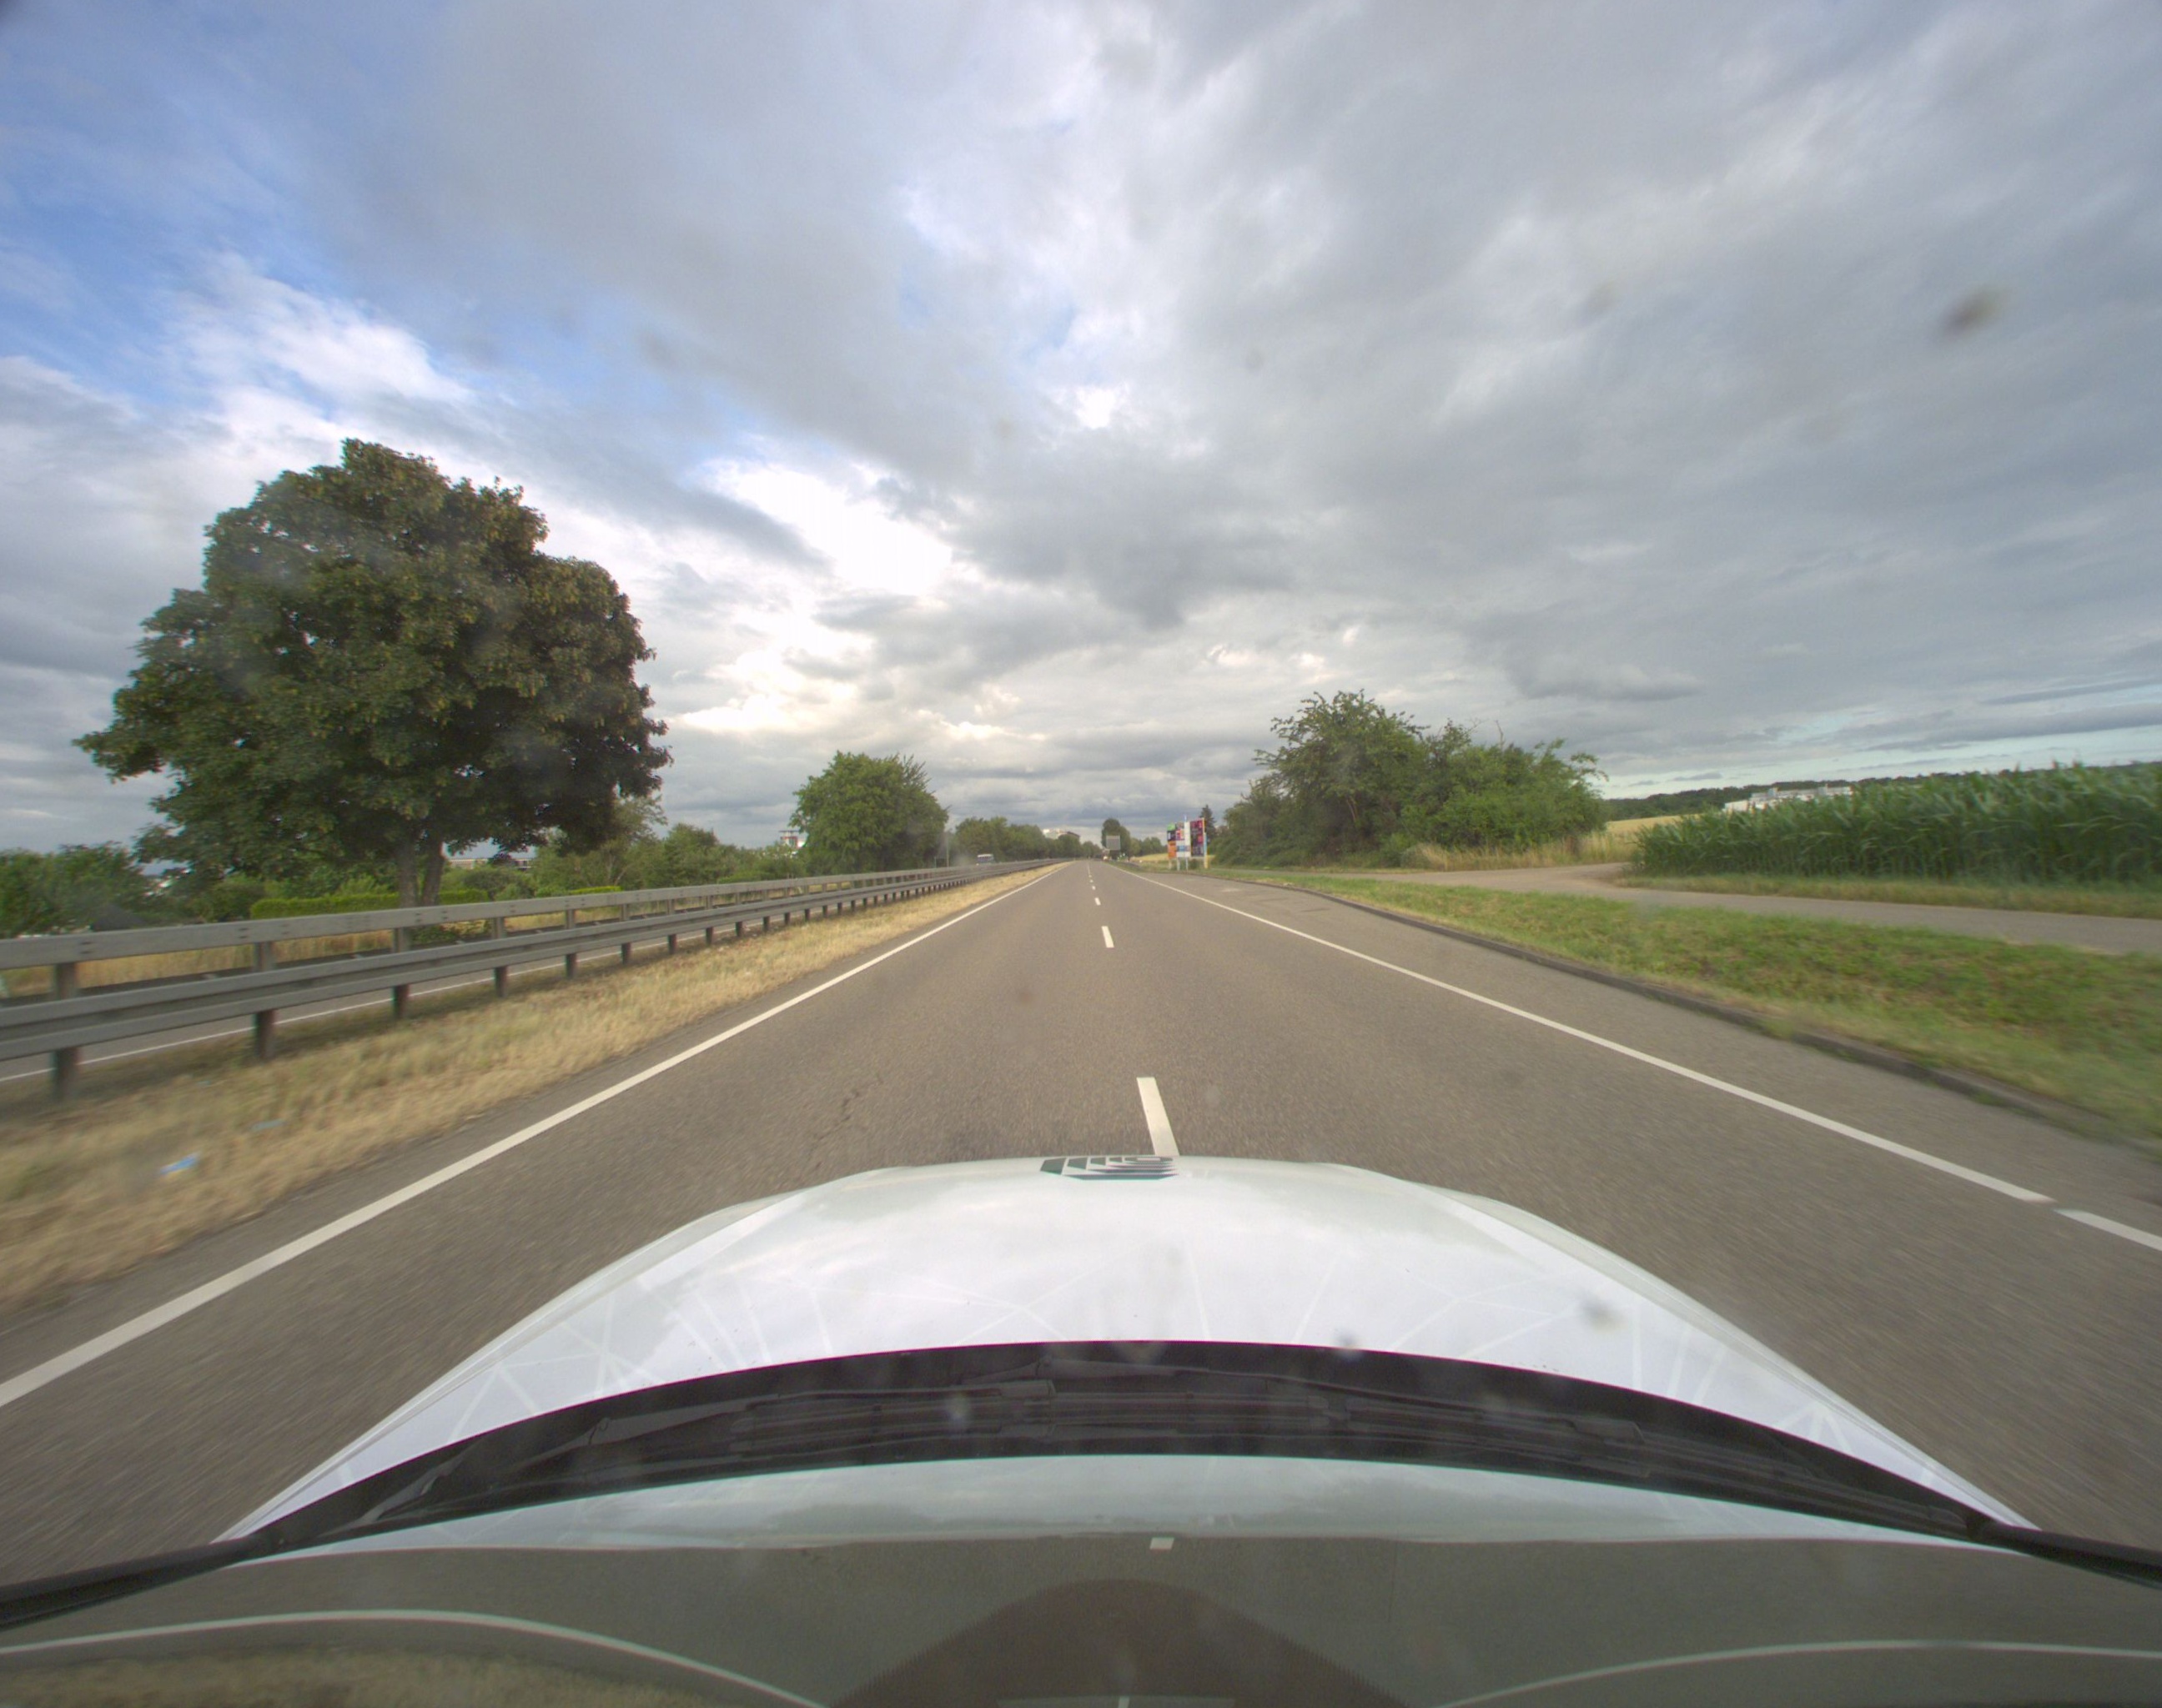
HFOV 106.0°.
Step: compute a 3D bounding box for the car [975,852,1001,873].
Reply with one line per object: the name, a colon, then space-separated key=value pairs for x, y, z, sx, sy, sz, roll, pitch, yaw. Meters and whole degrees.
car: x=-10.125 y=0.886 z=88.916 sx=1.986 sy=2.140 sz=5.320 roll=-3 pitch=0 yaw=2
